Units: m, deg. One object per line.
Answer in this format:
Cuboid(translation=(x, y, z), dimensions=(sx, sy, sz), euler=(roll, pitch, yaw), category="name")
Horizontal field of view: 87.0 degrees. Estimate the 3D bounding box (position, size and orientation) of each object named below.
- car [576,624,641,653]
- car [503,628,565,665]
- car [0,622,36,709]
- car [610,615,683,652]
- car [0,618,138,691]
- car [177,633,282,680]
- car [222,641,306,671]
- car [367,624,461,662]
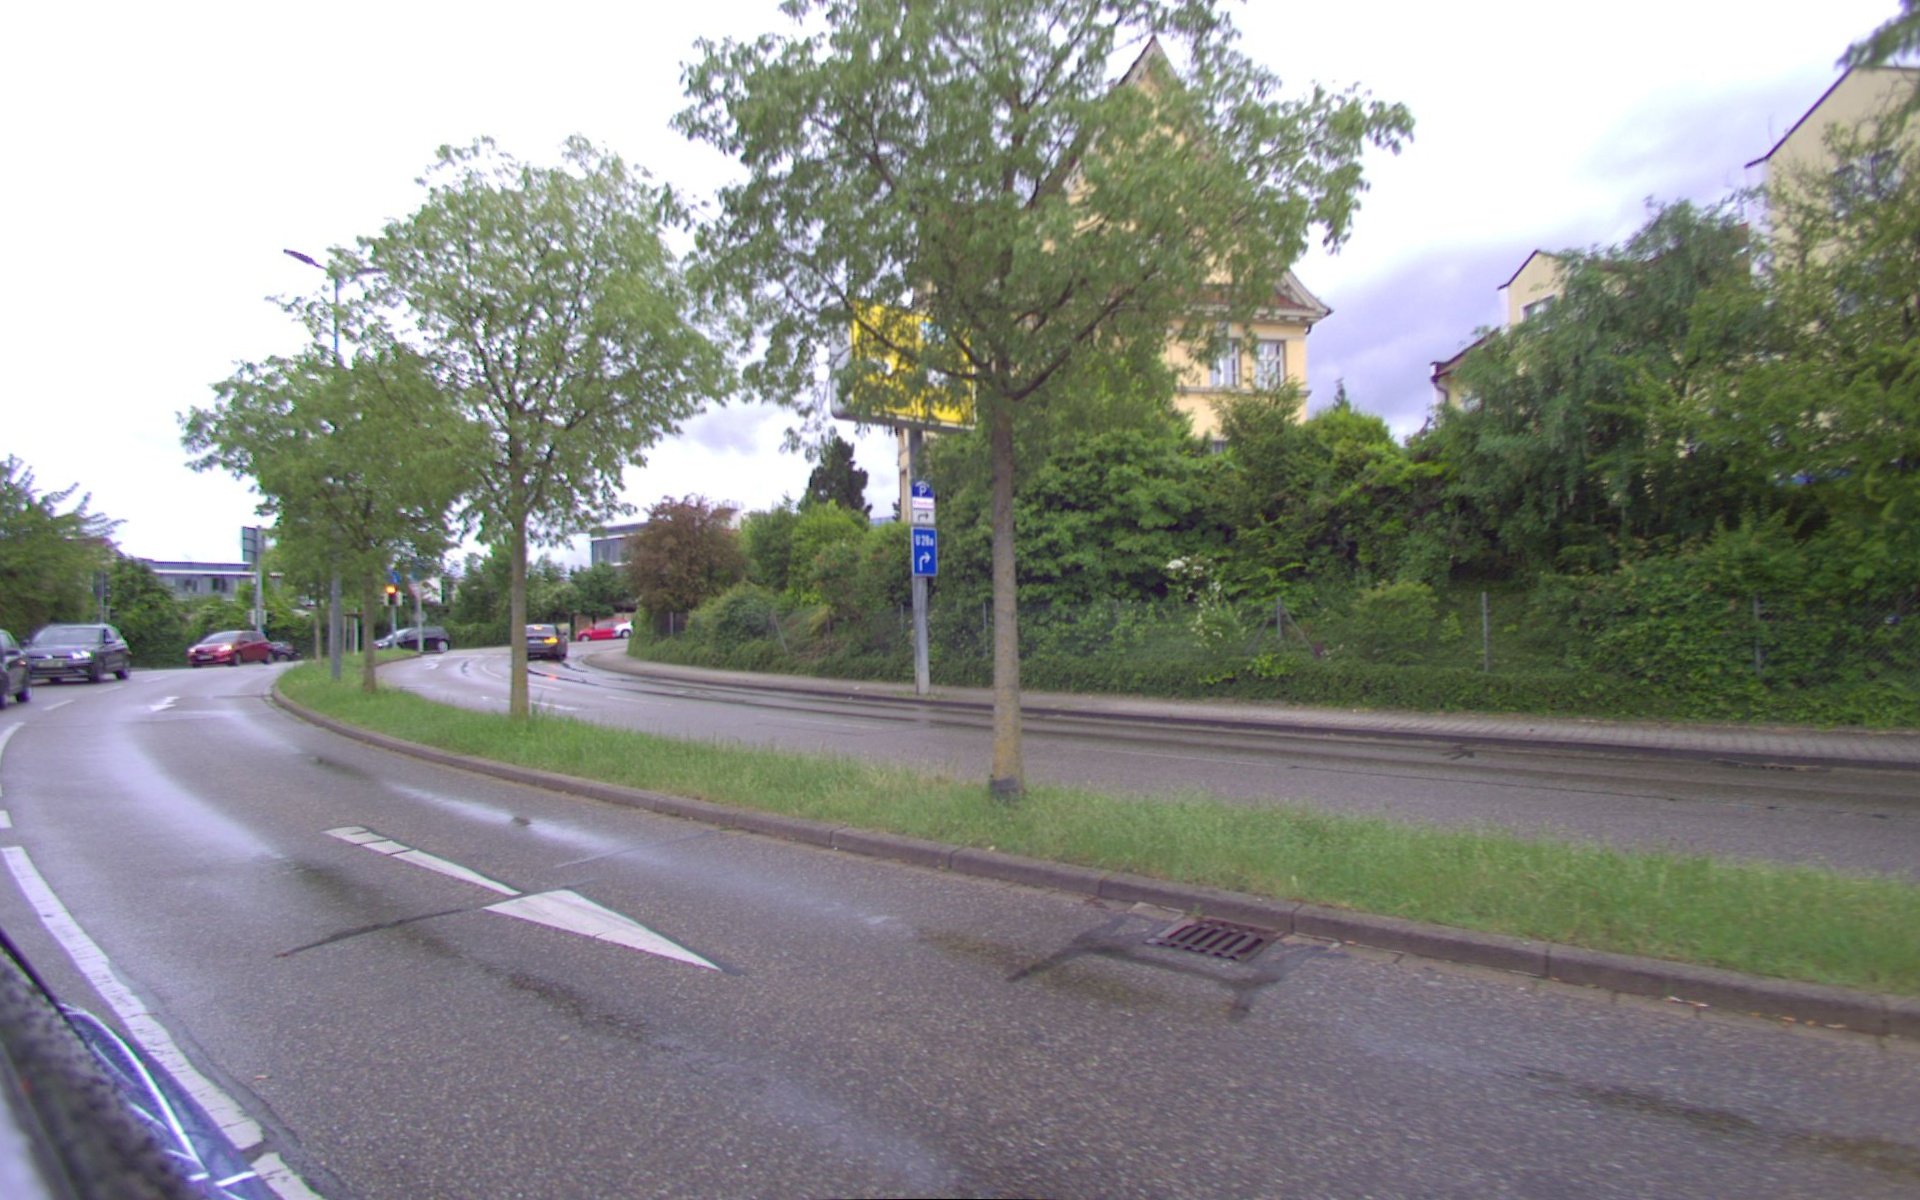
Cuboid(translation=(-23.889, 2.602, 68.732), dimensions=(4.039, 1.838, 2.006), euler=(-1, -3, -21), category="car")
Cuboid(translation=(-17.791, 1.964, 42.431), dimensions=(1.966, 1.449, 4.561), euler=(1, -3, -17), category="car")
Cuboid(translation=(-18.884, 1.337, 19.062), dimensions=(1.719, 1.530, 4.009), euler=(-3, -2, -37), category="car")
Cuboid(translation=(-19.594, 2.086, 63.198), dimensions=(3.932, 1.940, 1.918), euler=(-4, -2, -29), category="car")
Cuboid(translation=(-24.943, 1.553, 28.432), dimensions=(1.935, 1.763, 4.321), euler=(-3, -2, -27), category="car")
Cuboid(translation=(-30.608, 2.320, 42.563), dimensions=(1.840, 1.739, 4.006), euler=(-4, -2, -7), category="car")
Cuboid(translation=(-43.609, 3.483, 63.494), dimensions=(3.932, 1.683, 2.006), euler=(-1, -1, -15), category="car")
Cuboid(translation=(-29.158, 2.286, 54.130), dimensions=(1.864, 1.739, 3.955), euler=(-5, -2, 33), category="car")
